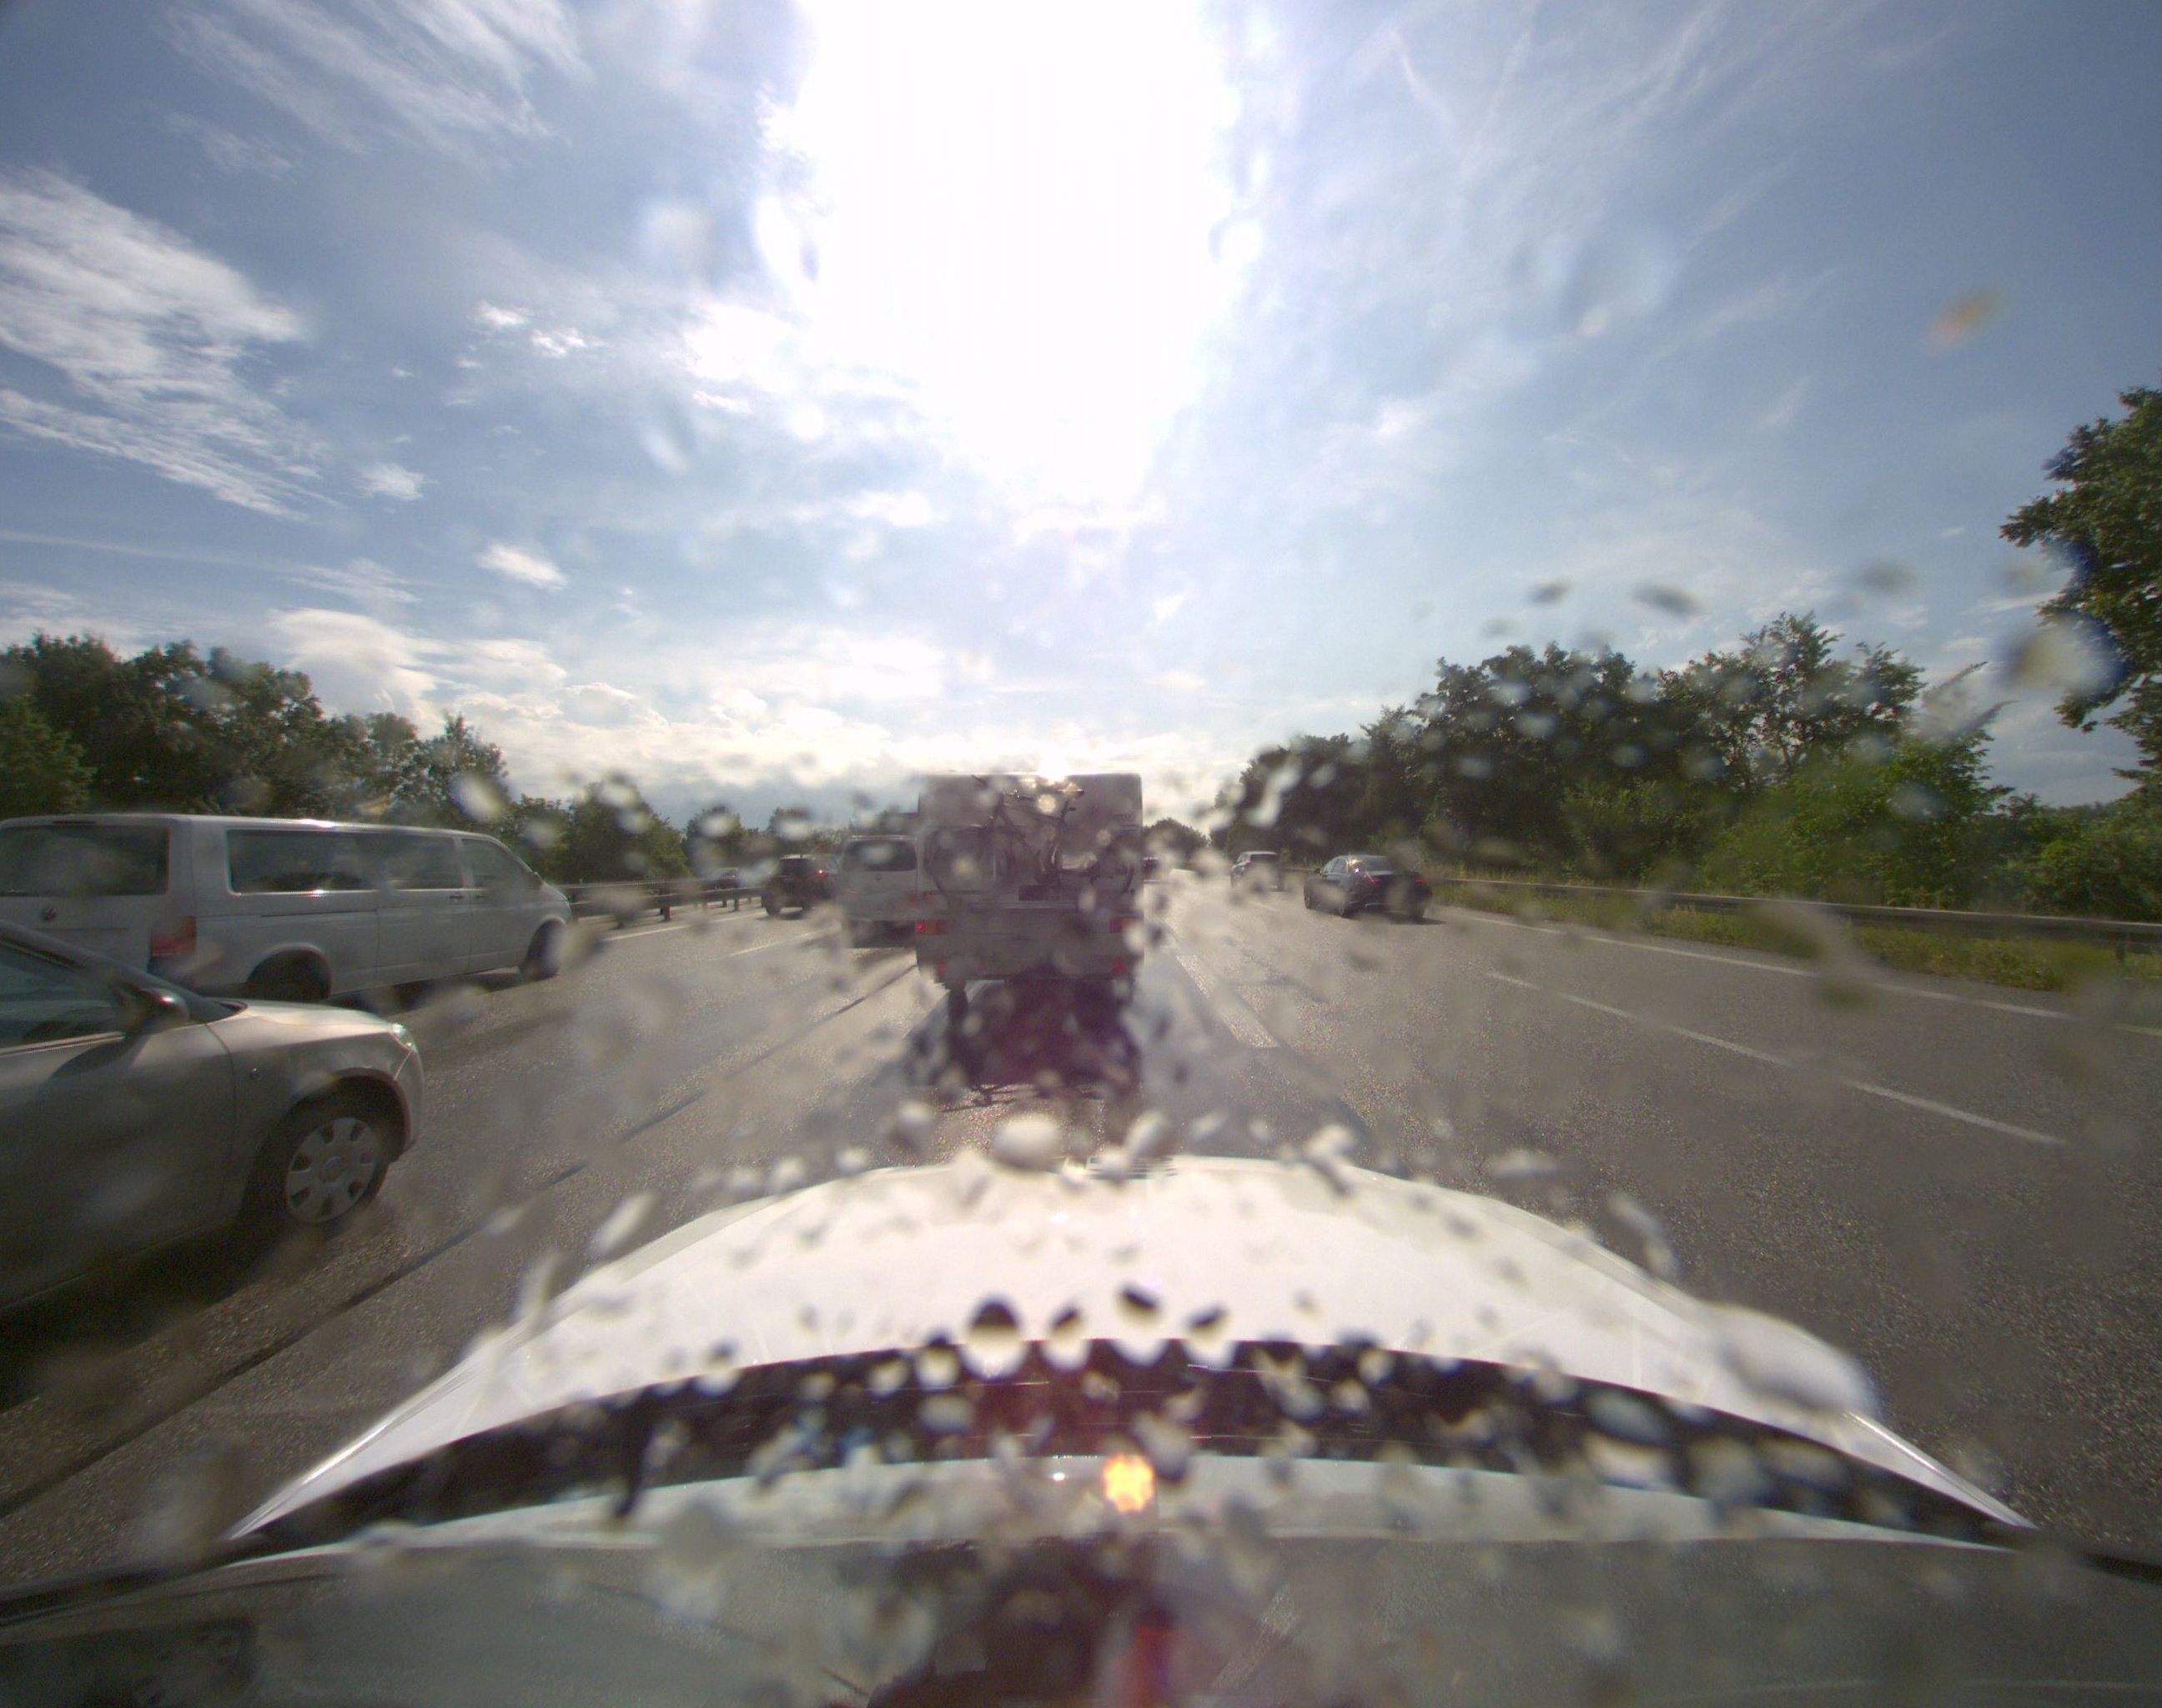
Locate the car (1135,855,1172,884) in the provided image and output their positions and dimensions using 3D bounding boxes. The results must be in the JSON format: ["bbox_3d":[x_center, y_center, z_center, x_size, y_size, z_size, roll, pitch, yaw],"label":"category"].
[{"bbox_3d":[4.061,0.849,46.082,1.828,1.558,4.001,0,-1,2],"label":"car"}]

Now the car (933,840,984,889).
[{"bbox_3d":[-5.323,0.438,35.715,1.574,2.013,3.616,-1,0,2],"label":"car"}]

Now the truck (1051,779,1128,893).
[{"bbox_3d":[0.368,-0.718,38.945,3.136,4.626,10.734,-1,0,0],"label":"truck"}]

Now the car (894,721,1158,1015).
[{"bbox_3d":[-0.445,0.144,9.445,2.401,2.674,4.001,0,-1,2],"label":"car"}]

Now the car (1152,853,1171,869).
[{"bbox_3d":[8.730,0.700,88.695,1.713,1.684,4.002,-1,0,2],"label":"car"}]

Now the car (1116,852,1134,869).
[{"bbox_3d":[4.552,0.698,84.687,1.713,1.684,4.002,-1,0,2],"label":"car"}]

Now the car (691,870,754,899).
[{"bbox_3d":[-18.566,1.568,42.325,1.683,1.354,3.442,-1,0,1],"label":"car"}]

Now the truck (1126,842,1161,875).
[{"bbox_3d":[4.804,0.357,63.707,2.406,2.444,6.055,-1,0,2],"label":"truck"}]

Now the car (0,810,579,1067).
[{"bbox_3d":[-7.857,0.645,8.683,1.841,1.934,5.016,-1,0,0],"label":"car"}]

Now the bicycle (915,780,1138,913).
[{"bbox_3d":[-0.466,-0.061,7.248,1.927,1.141,0.384,0,-1,1],"label":"bicycle"}]

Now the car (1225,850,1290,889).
[{"bbox_3d":[7.788,0.681,36.329,1.872,1.629,3.996,0,-1,-3],"label":"car"}]

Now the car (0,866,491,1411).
[{"bbox_3d":[-3.950,0.801,2.094,1.980,1.458,3.828,-1,0,2],"label":"car"}]

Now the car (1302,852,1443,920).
[{"bbox_3d":[7.014,0.729,20.066,1.872,1.494,3.996,0,-1,-3],"label":"car"}]

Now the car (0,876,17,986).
[{"bbox_3d":[-15.943,1.081,9.511,1.697,1.517,4.002,-1,0,2],"label":"car"}]

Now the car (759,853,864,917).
[{"bbox_3d":[-7.586,0.832,23.335,1.767,1.662,3.997,0,-1,-2],"label":"car"}]

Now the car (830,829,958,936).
[{"bbox_3d":[-3.832,0.552,17.373,1.871,2.014,3.997,0,-1,-2],"label":"car"}]
